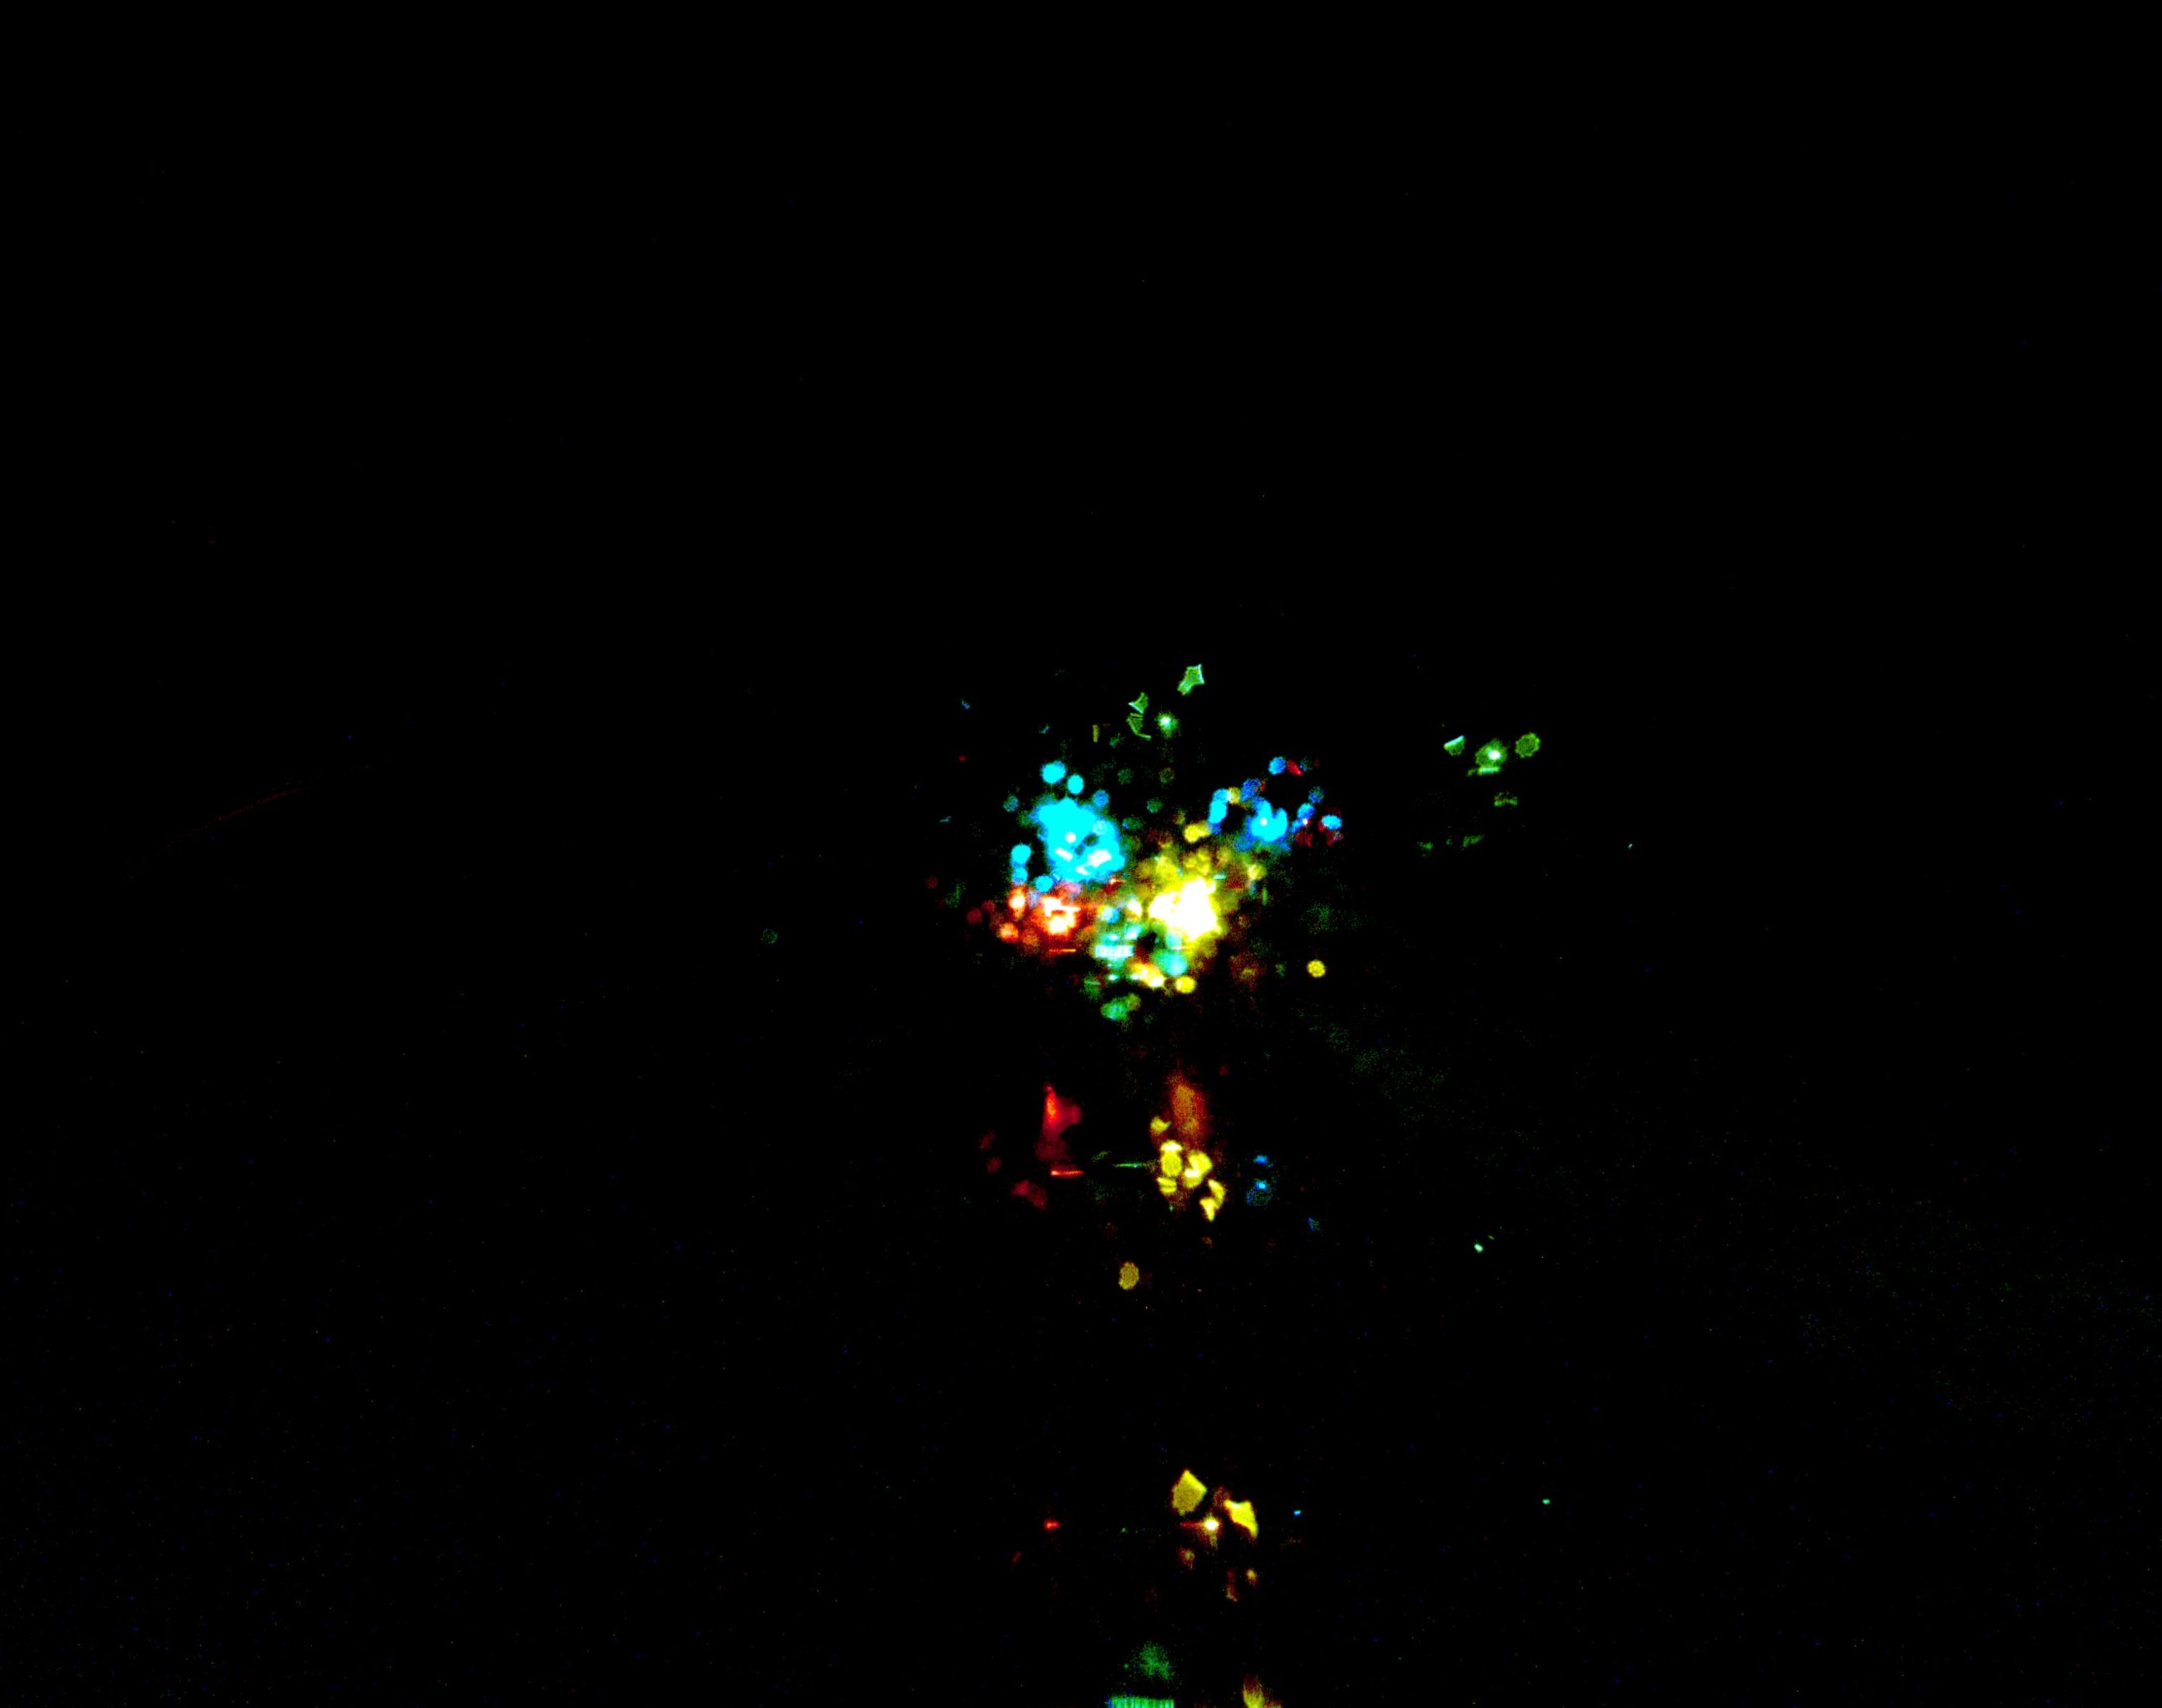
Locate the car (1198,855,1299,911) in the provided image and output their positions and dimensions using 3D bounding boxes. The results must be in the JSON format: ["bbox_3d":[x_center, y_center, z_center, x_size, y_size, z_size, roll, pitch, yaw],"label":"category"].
[{"bbox_3d":[6.464,1.050,31.129,1.755,1.947,4.280,3,1,42],"label":"car"}]

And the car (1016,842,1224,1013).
[{"bbox_3d":[0.440,0.738,10.095,2.050,1.678,4.140,0,-1,1],"label":"car"}]

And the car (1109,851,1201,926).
[{"bbox_3d":[1.759,0.742,19.879,1.901,1.510,4.245,-4,0,4],"label":"car"}]

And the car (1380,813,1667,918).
[{"bbox_3d":[8.280,0.216,15.699,4.437,1.586,1.946,-4,0,12],"label":"car"}]
